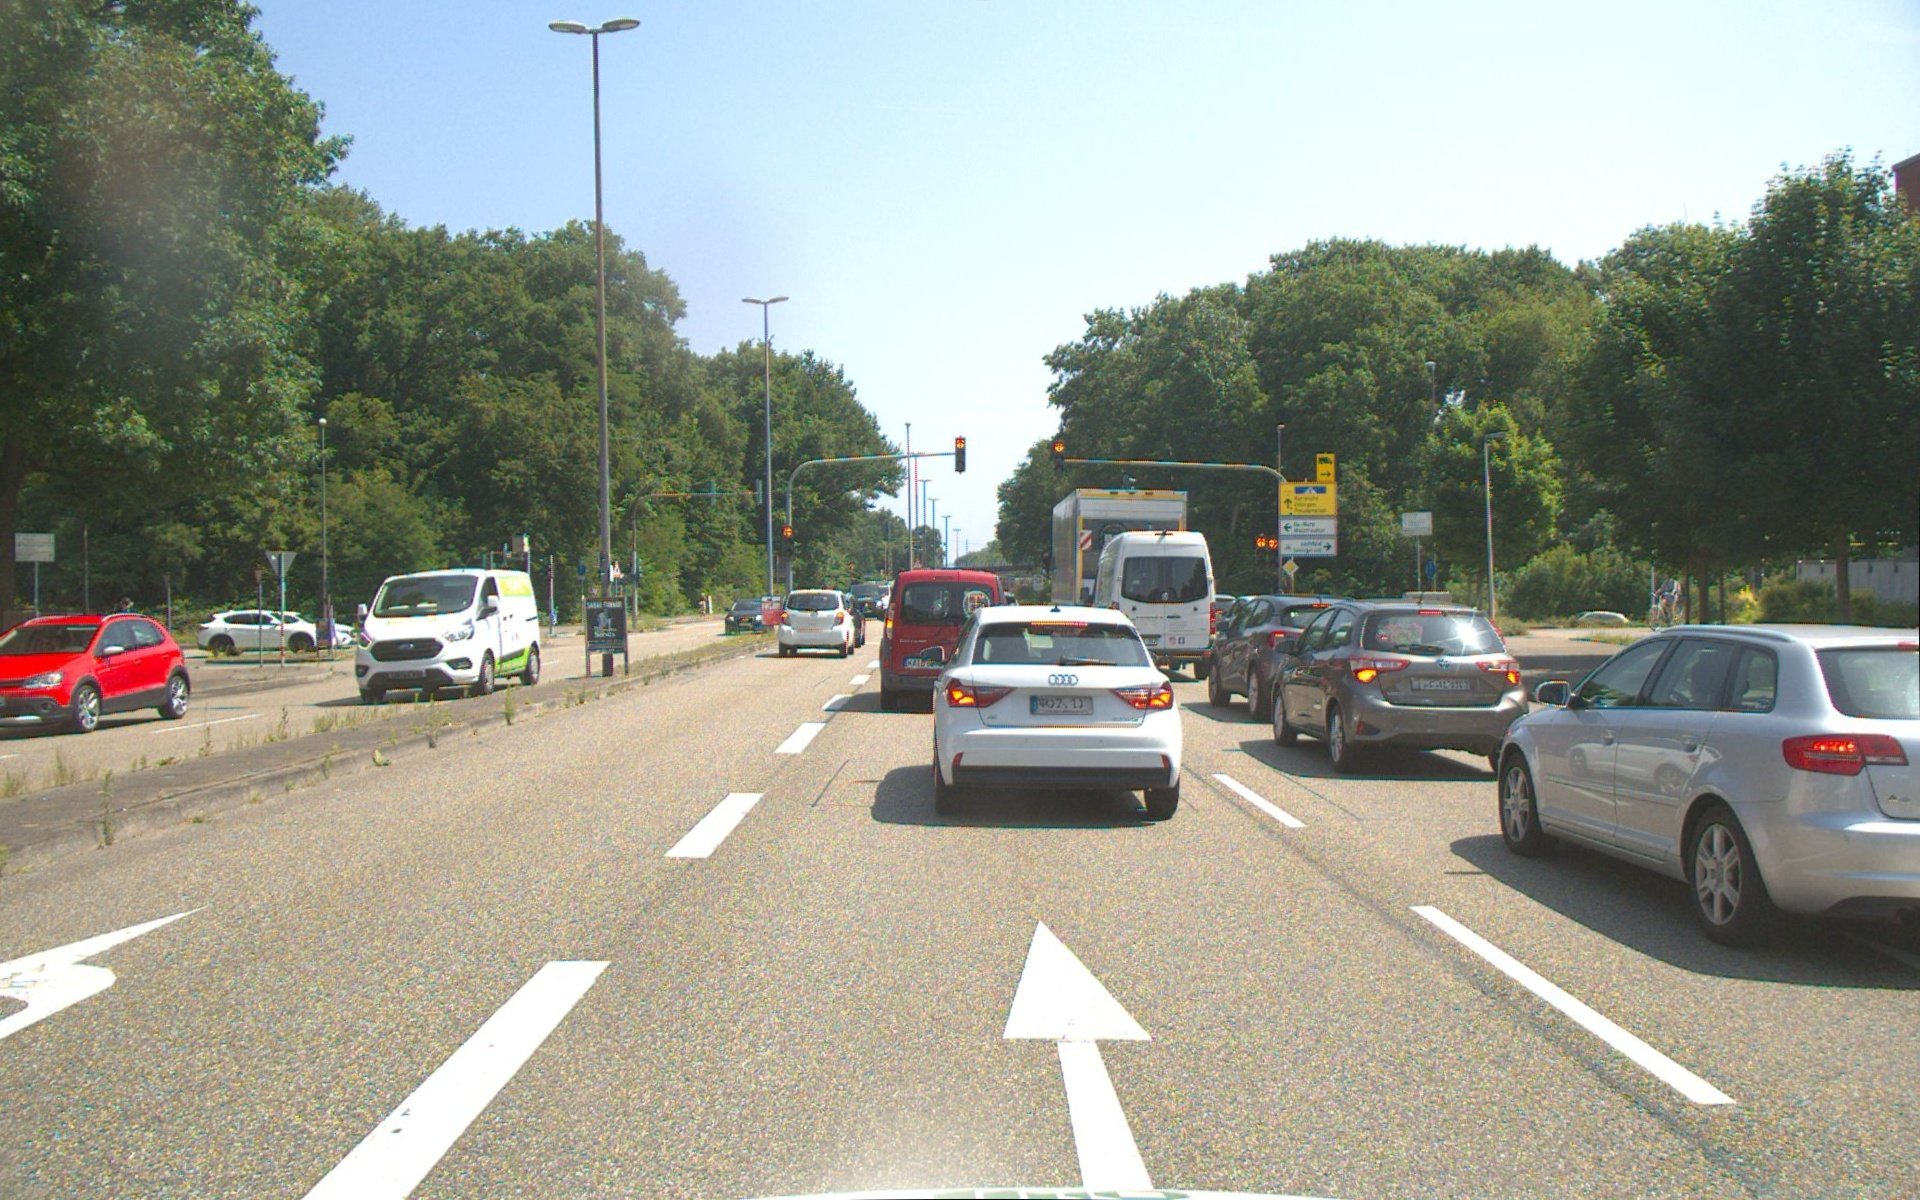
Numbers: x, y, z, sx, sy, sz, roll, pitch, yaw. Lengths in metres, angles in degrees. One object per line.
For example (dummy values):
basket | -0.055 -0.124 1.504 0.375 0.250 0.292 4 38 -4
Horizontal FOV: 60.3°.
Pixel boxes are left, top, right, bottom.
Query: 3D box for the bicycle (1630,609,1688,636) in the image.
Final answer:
bicycle | 20.791 0.664 49.182 1.801 0.779 0.595 -1 0 -29

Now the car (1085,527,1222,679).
car | 3.615 0.039 31.735 1.990 2.690 4.844 0 0 -1

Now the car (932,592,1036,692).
car | 0.364 0.692 29.601 1.677 1.660 4.090 0 0 -2

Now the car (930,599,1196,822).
car | 0.629 0.714 12.703 1.677 1.410 4.090 0 0 -2

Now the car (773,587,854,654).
car | -3.430 0.451 39.293 1.677 1.519 4.090 0 0 -2

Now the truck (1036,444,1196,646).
truck | 3.774 -1.277 43.036 3.025 4.511 11.579 1 0 0

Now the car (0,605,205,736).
car | -11.624 0.875 21.601 1.671 1.478 3.891 -3 0 0

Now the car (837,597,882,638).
car | -5.265 0.904 86.170 1.957 2.049 3.992 -1 0 -9

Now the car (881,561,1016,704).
car | -0.200 0.395 22.734 1.677 1.779 4.090 0 0 -2

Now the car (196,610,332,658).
car | -25.869 1.252 61.557 4.289 1.711 1.807 1 -1 -8

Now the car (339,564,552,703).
car | -8.256 0.479 27.038 1.953 1.979 4.907 -3 0 -1

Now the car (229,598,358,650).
car | -26.331 0.925 65.460 4.290 1.710 1.807 -4 0 -8

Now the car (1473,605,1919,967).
car | 4.193 0.754 8.578 1.677 1.386 4.090 1 0 -2

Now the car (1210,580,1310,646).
car | 7.525 0.295 41.813 1.677 1.573 4.090 0 0 -2

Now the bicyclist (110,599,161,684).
bicyclist | -17.918 0.890 35.941 0.636 1.801 0.928 0 0 0

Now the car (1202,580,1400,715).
car | 4.387 0.561 21.881 1.677 1.621 4.090 0 0 -2

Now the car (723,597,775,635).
car | -8.558 0.624 67.332 1.645 1.362 3.999 -3 0 -2

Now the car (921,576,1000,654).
car | -0.046 0.317 37.653 1.677 1.660 4.090 0 0 -2

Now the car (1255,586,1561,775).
car | 4.131 0.664 15.927 1.677 1.504 4.090 3 0 -2

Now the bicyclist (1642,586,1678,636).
bicyclist | 20.843 0.334 49.226 0.817 1.464 0.593 -1 0 -29

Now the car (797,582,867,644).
car | -3.533 0.339 46.260 1.738 1.670 4.035 0 0 -2
